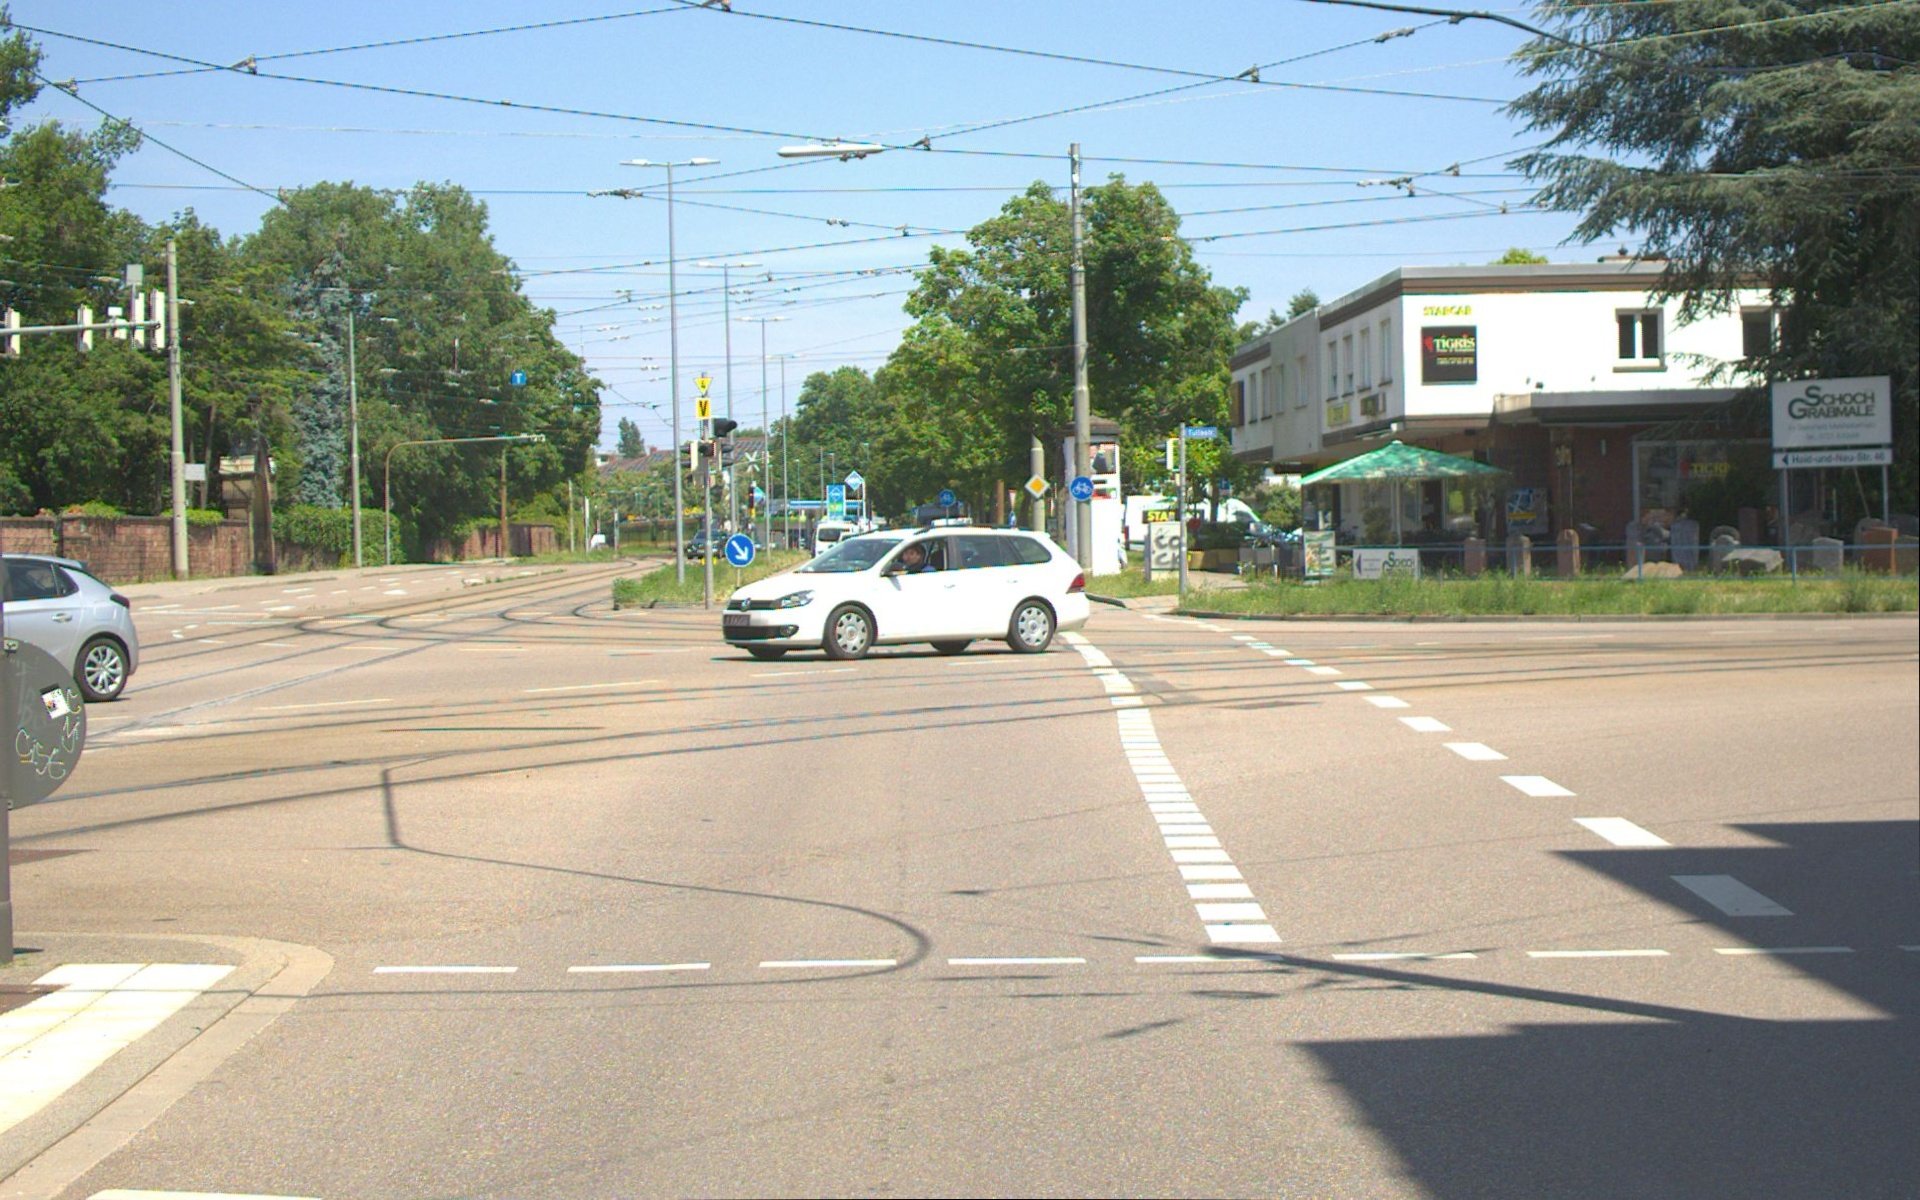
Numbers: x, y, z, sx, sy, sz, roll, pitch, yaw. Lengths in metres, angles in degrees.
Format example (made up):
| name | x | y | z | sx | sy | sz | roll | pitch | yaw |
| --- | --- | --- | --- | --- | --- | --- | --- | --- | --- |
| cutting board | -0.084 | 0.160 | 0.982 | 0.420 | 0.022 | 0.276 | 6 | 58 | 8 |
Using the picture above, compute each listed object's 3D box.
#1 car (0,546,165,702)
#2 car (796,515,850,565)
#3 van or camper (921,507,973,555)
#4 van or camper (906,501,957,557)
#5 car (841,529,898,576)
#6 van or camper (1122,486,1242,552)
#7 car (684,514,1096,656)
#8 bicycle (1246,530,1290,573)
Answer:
| name | x | y | z | sx | sy | sz | roll | pitch | yaw |
| --- | --- | --- | --- | --- | --- | --- | --- | --- | --- |
| car | -9.492 | 0.257 | 31.441 | 1.822 | 1.358 | 4.043 | -1 | 1 | 38 |
| car | -5.255 | -2.316 | 131.685 | 1.993 | 1.853 | 4.001 | -1 | 1 | -3 |
| van or camper | -0.504 | -2.620 | 130.348 | 1.922 | 1.766 | 4.000 | -1 | 1 | -1 |
| van or camper | -1.264 | -3.157 | 152.814 | 1.993 | 2.456 | 4.001 | -1 | 1 | -4 |
| car | -2.810 | -1.490 | 107.195 | 1.670 | 1.430 | 3.475 | 1 | 1 | 0 |
| van or camper | 9.241 | -3.383 | 143.366 | 4.756 | 2.662 | 2.136 | -1 | 1 | -3 |
| car | -0.754 | -0.202 | 39.193 | 4.486 | 1.484 | 1.823 | -2 | 2 | -38 |
| bicycle | 7.582 | -1.209 | 84.470 | 1.034 | 1.011 | 2.636 | -1 | 1 | 6 |
